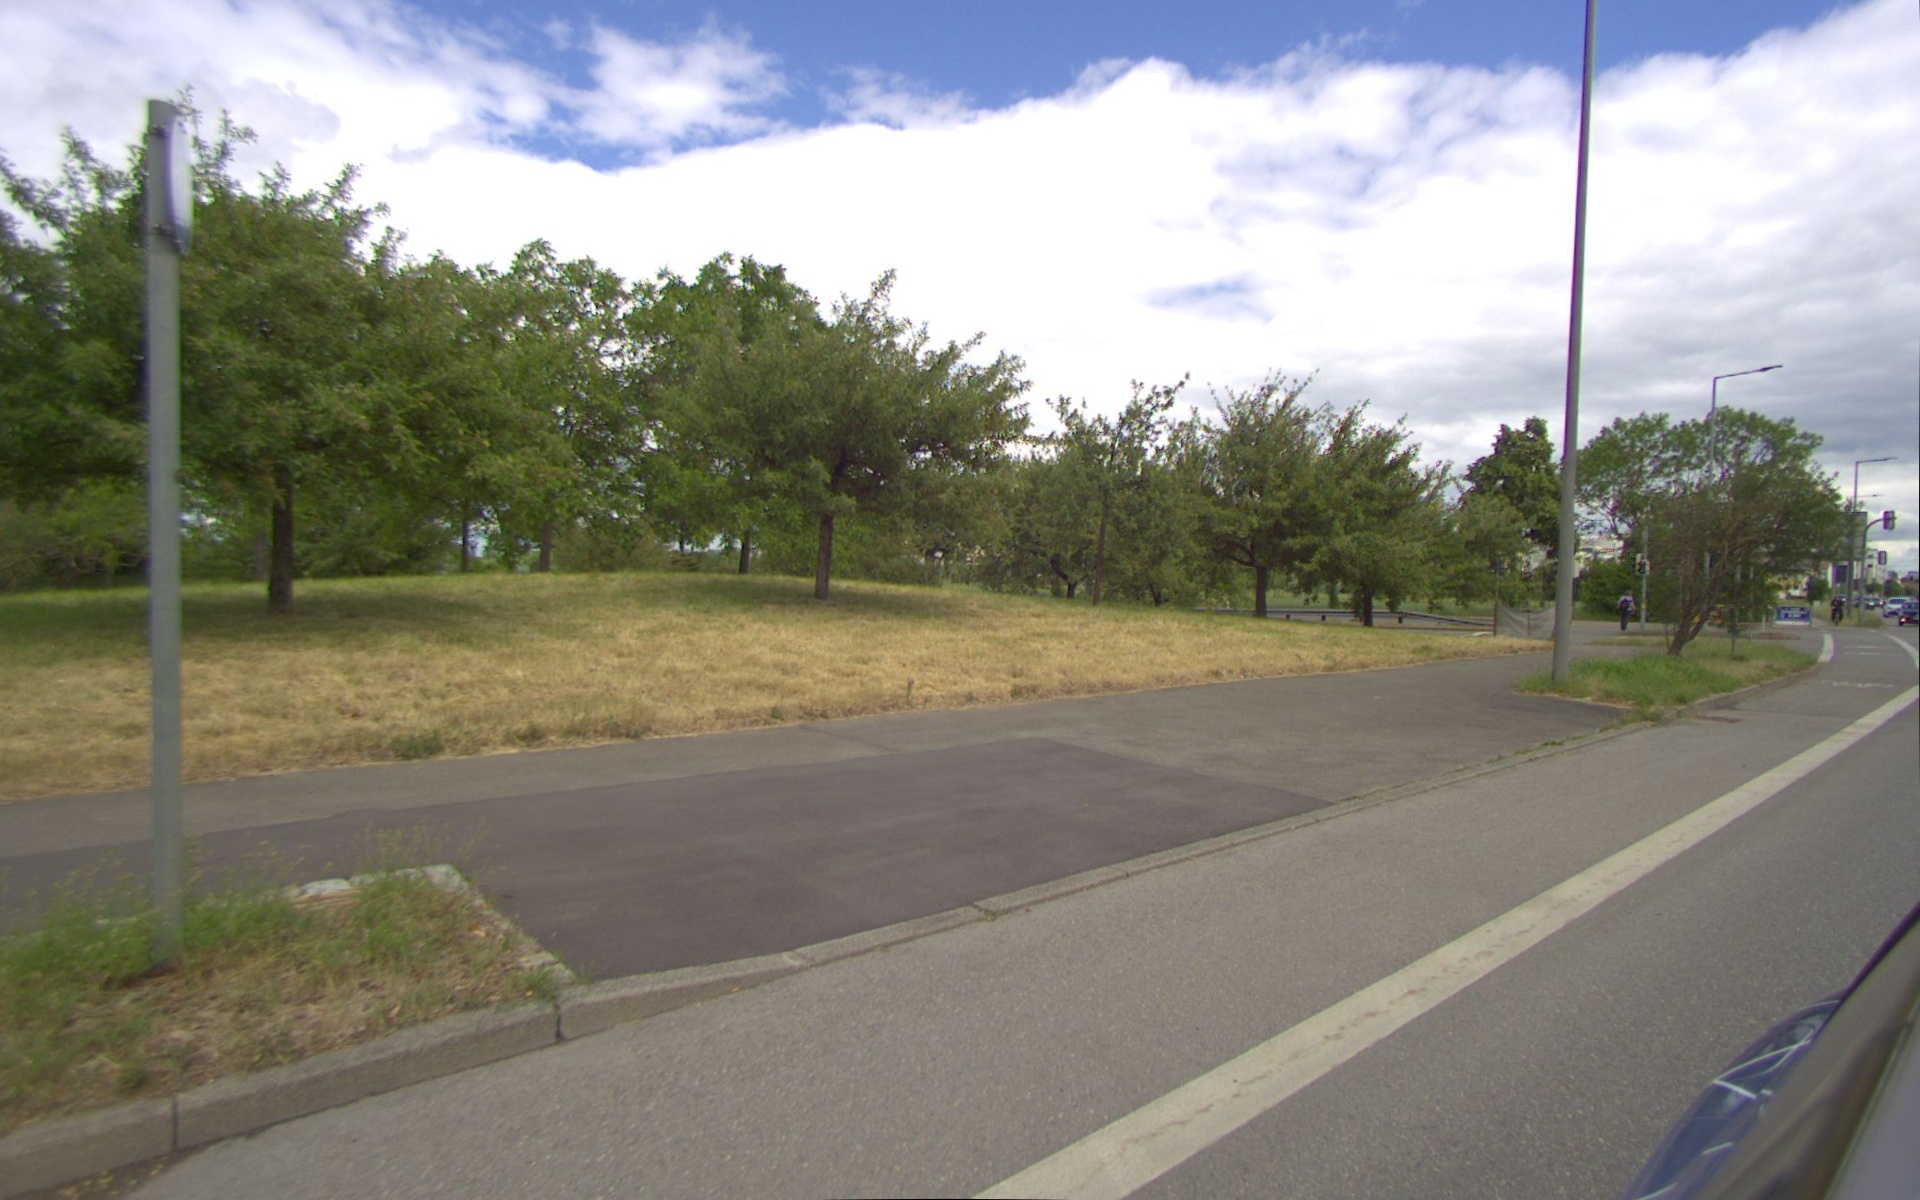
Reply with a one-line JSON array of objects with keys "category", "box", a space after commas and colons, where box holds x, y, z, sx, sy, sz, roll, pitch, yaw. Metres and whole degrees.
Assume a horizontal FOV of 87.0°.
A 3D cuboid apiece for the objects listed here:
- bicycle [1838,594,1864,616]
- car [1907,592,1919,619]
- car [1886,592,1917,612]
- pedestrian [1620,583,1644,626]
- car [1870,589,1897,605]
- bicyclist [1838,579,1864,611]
[{"category": "bicycle", "box": [49.554, 0.256, 56.306, 1.013, 1.148, 2.637, 3, 2, 40]}, {"category": "car", "box": [54.779, 0.305, 57.196, 1.732, 1.459, 4.298, 1, 1, 45]}, {"category": "car", "box": [72.978, 0.136, 78.509, 1.730, 1.459, 4.301, 1, 1, 43]}, {"category": "pedestrian", "box": [30.437, 0.205, 45.824, 0.757, 1.907, 0.794, 0, 0, 24]}, {"category": "car", "box": [101.322, -0.309, 111.060, 1.864, 1.716, 4.309, 1, 1, 39]}, {"category": "bicyclist", "box": [49.592, -0.301, 56.338, 1.013, 1.729, 1.184, 2, 2, 40]}]
